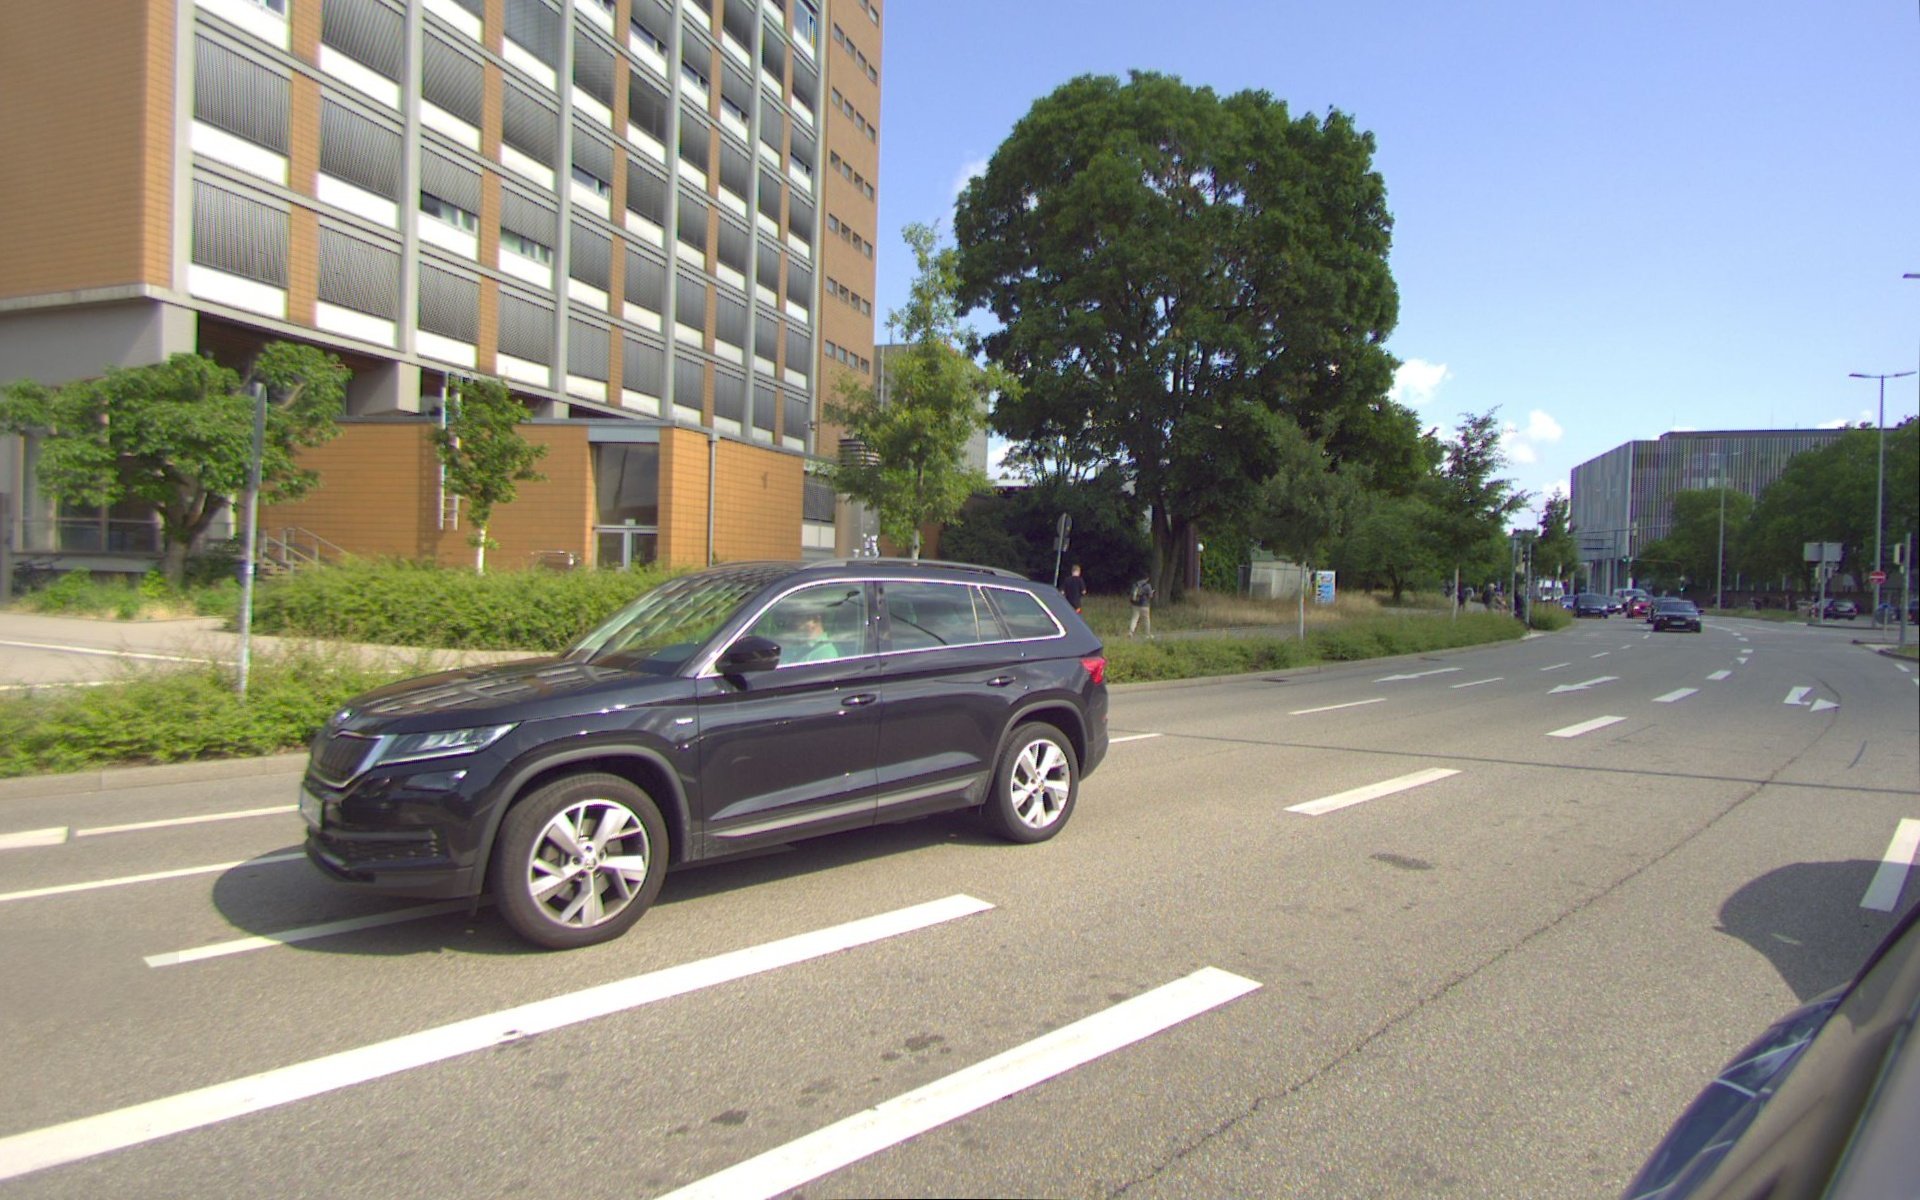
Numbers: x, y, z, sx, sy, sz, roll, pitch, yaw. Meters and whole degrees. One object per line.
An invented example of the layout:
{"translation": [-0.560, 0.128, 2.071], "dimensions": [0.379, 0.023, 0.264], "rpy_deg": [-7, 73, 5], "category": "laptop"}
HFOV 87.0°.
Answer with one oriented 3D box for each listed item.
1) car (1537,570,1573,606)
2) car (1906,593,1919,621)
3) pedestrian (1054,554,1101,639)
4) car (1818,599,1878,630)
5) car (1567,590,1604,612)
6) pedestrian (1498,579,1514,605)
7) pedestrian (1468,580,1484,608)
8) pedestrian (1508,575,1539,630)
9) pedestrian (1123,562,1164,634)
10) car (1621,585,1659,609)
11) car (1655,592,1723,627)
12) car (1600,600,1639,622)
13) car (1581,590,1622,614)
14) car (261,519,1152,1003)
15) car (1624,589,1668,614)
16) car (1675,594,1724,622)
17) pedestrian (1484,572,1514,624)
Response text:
{"translation": [51.311, -1.045, 87.392], "dimensions": [2.465, 2.915, 6.086], "rpy_deg": [2, 1, 29], "category": "car"}
{"translation": [54.897, 0.442, 56.089], "dimensions": [1.972, 1.616, 3.980], "rpy_deg": [2, 1, 16], "category": "car"}
{"translation": [2.693, -0.093, 23.198], "dimensions": [0.634, 1.893, 0.760], "rpy_deg": [0, 4, -40], "category": "pedestrian"}
{"translation": [60.652, 0.939, 69.187], "dimensions": [1.749, 2.039, 3.592], "rpy_deg": [0, 0, 18], "category": "car"}
{"translation": [45.599, 0.019, 73.821], "dimensions": [1.982, 1.504, 3.960], "rpy_deg": [2, 2, 28], "category": "car"}
{"translation": [43.586, -0.617, 80.799], "dimensions": [0.980, 2.039, 1.117], "rpy_deg": [2, 1, 33], "category": "pedestrian"}
{"translation": [37.870, -0.426, 74.282], "dimensions": [0.980, 2.039, 1.117], "rpy_deg": [0, 0, 33], "category": "pedestrian"}
{"translation": [21.394, 0.099, 38.421], "dimensions": [0.980, 2.039, 1.117], "rpy_deg": [0, 0, 33], "category": "pedestrian"}
{"translation": [4.675, -0.067, 25.794], "dimensions": [0.634, 1.766, 0.672], "rpy_deg": [0, 5, -41], "category": "pedestrian"}
{"translation": [59.454, -0.306, 88.573], "dimensions": [1.979, 2.039, 5.030], "rpy_deg": [0, 0, 26], "category": "car"}
{"translation": [32.122, 0.425, 44.547], "dimensions": [1.992, 1.416, 4.440], "rpy_deg": [2, 0, 41], "category": "car"}
{"translation": [51.320, 0.860, 78.825], "dimensions": [1.871, 1.638, 3.967], "rpy_deg": [0, 0, 24], "category": "car"}
{"translation": [41.976, 0.110, 66.286], "dimensions": [1.982, 1.504, 3.960], "rpy_deg": [2, 2, 28], "category": "car"}
{"translation": [-1.110, 0.521, 5.824], "dimensions": [4.603, 1.689, 1.996], "rpy_deg": [-1, 1, -42], "category": "car"}
{"translation": [45.386, 0.083, 67.057], "dimensions": [1.982, 1.504, 3.960], "rpy_deg": [2, 2, 28], "category": "car"}
{"translation": [41.646, 0.435, 56.980], "dimensions": [1.709, 1.472, 3.937], "rpy_deg": [2, 2, 44], "category": "car"}
{"translation": [21.732, -0.086, 40.822], "dimensions": [0.980, 2.039, 1.117], "rpy_deg": [0, 0, 33], "category": "pedestrian"}
